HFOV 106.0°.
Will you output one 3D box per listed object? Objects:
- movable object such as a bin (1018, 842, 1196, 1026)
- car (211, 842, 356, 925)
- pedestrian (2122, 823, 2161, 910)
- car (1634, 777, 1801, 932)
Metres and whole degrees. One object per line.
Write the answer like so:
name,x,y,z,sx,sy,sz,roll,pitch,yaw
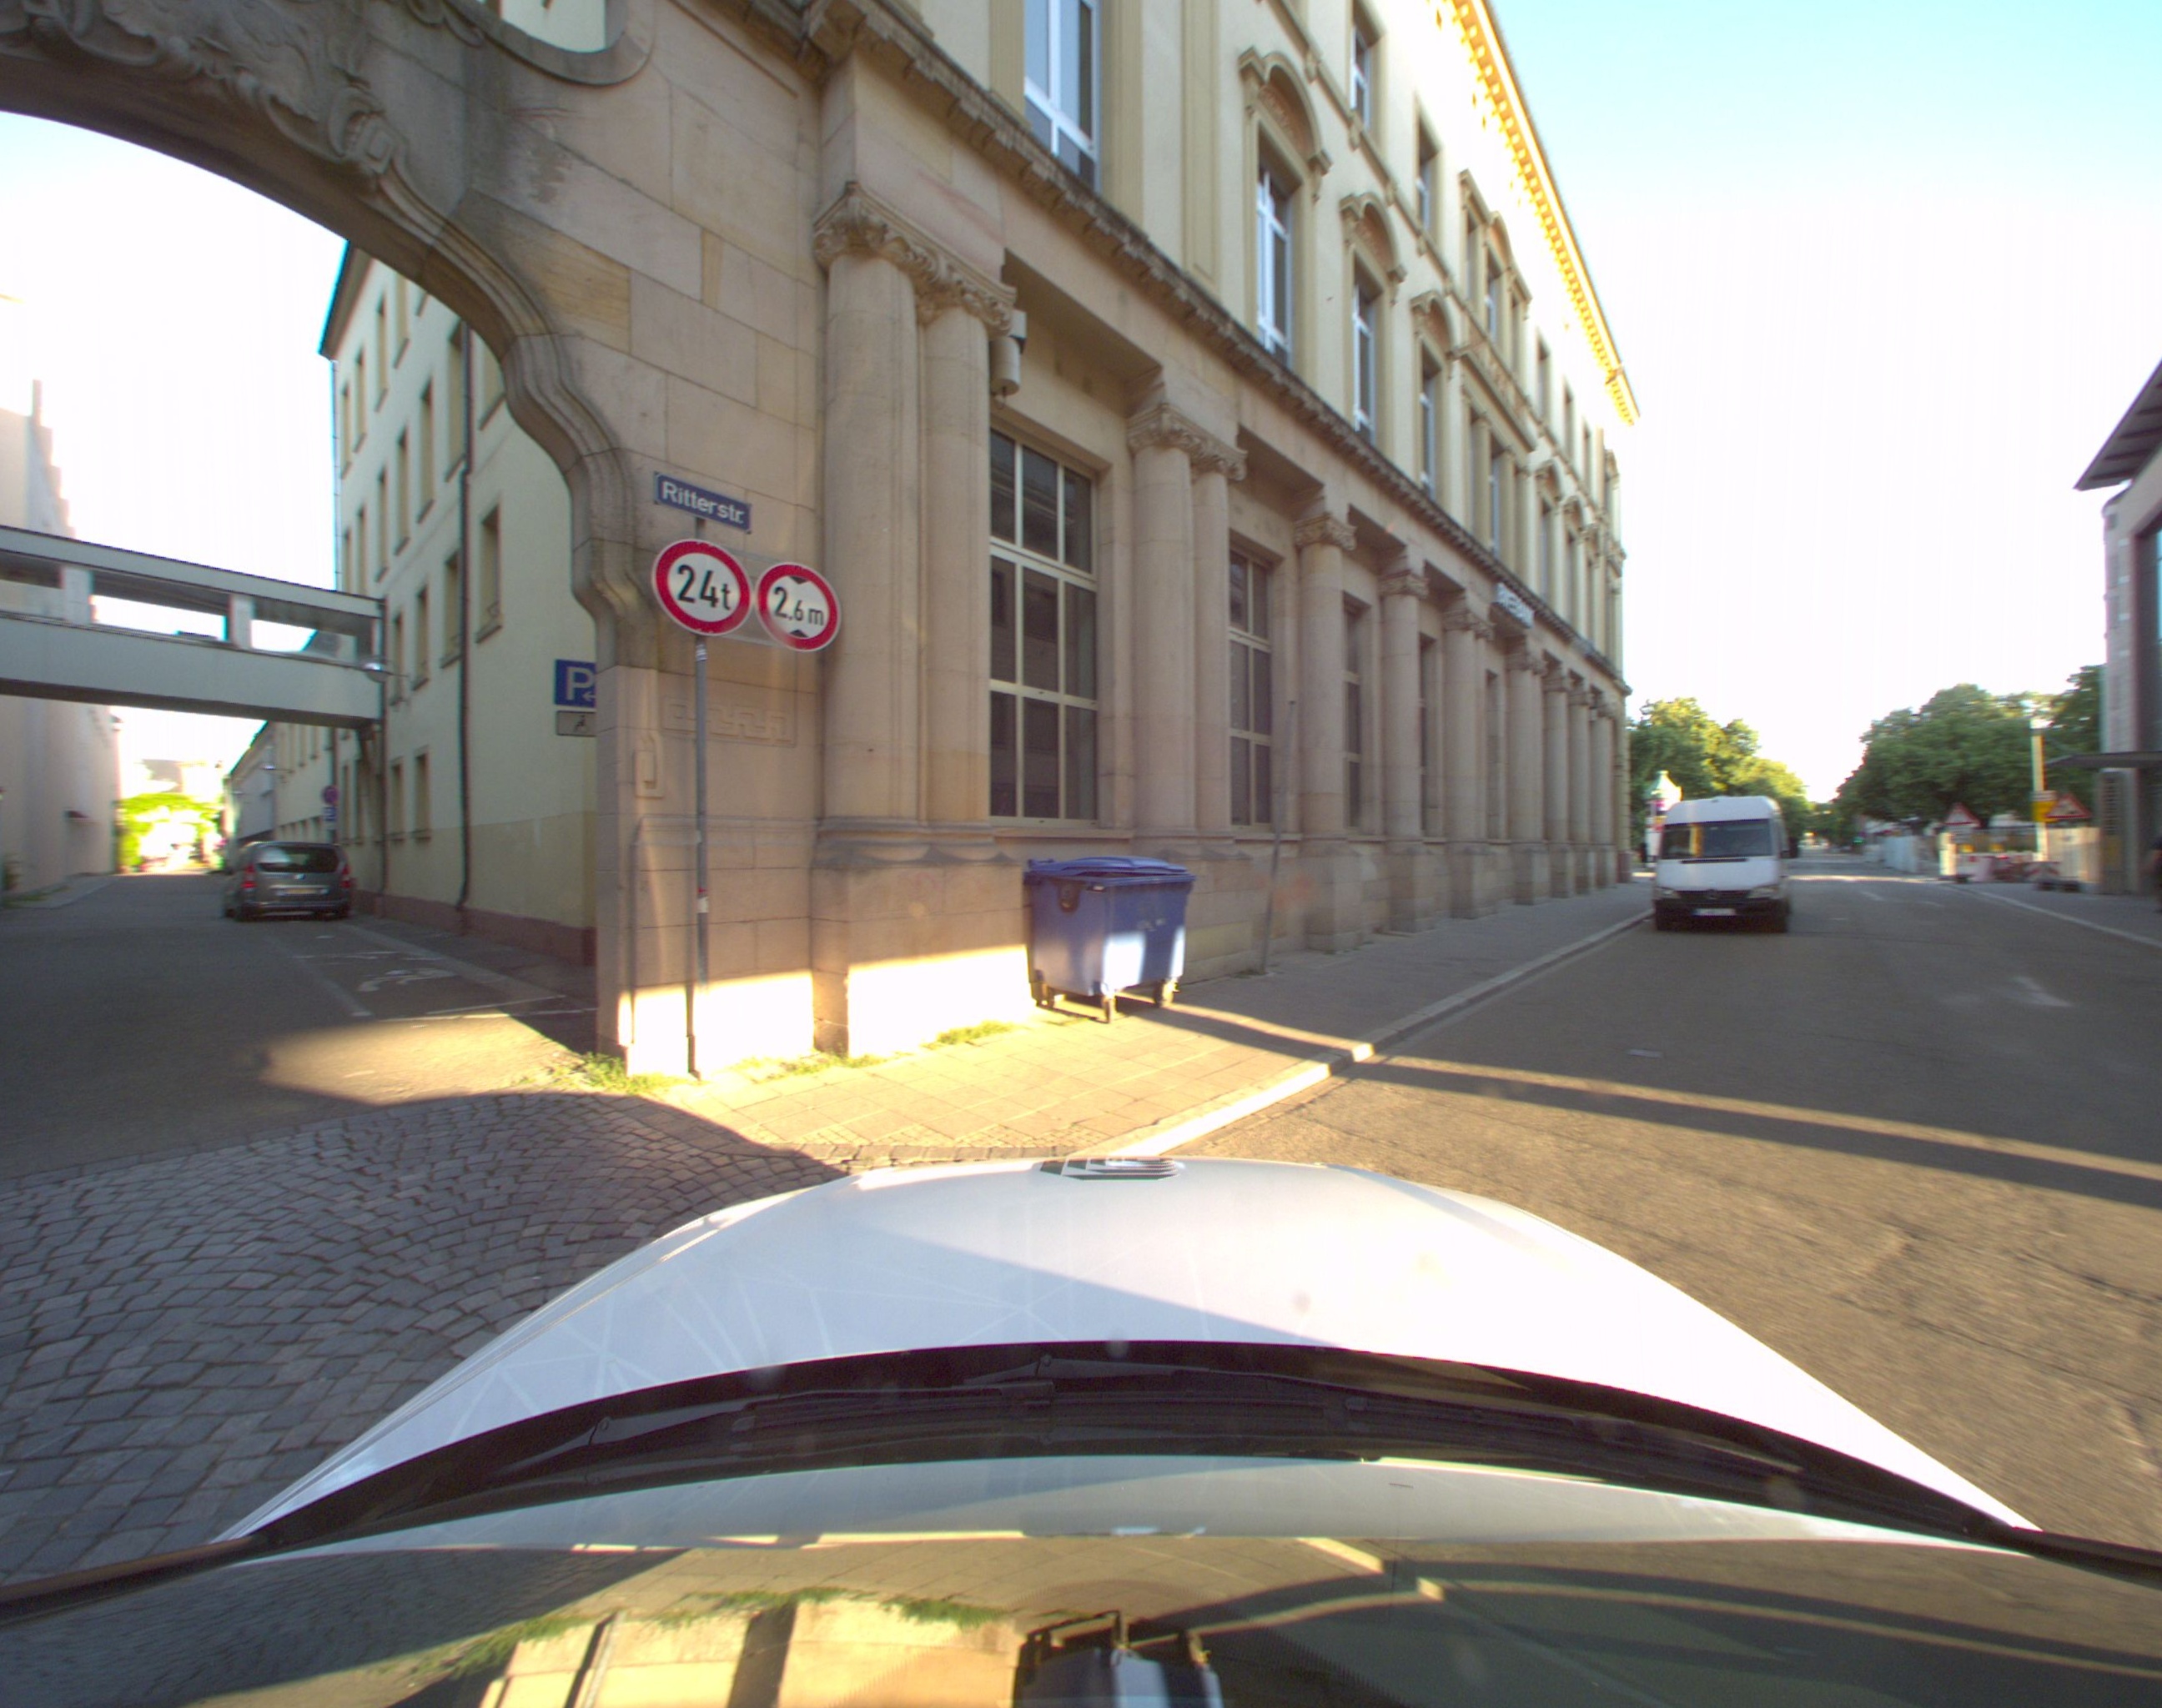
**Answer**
movable object such as a bin,0.239,0.636,7.360,1.194,1.474,1.064,0,1,-44
car,-18.827,0.662,19.177,4.109,1.756,1.872,0,-3,39
pedestrian,21.659,0.236,16.249,0.914,1.702,0.874,-2,-1,42
car,12.918,0.023,16.300,1.976,2.512,6.509,-5,-3,42
